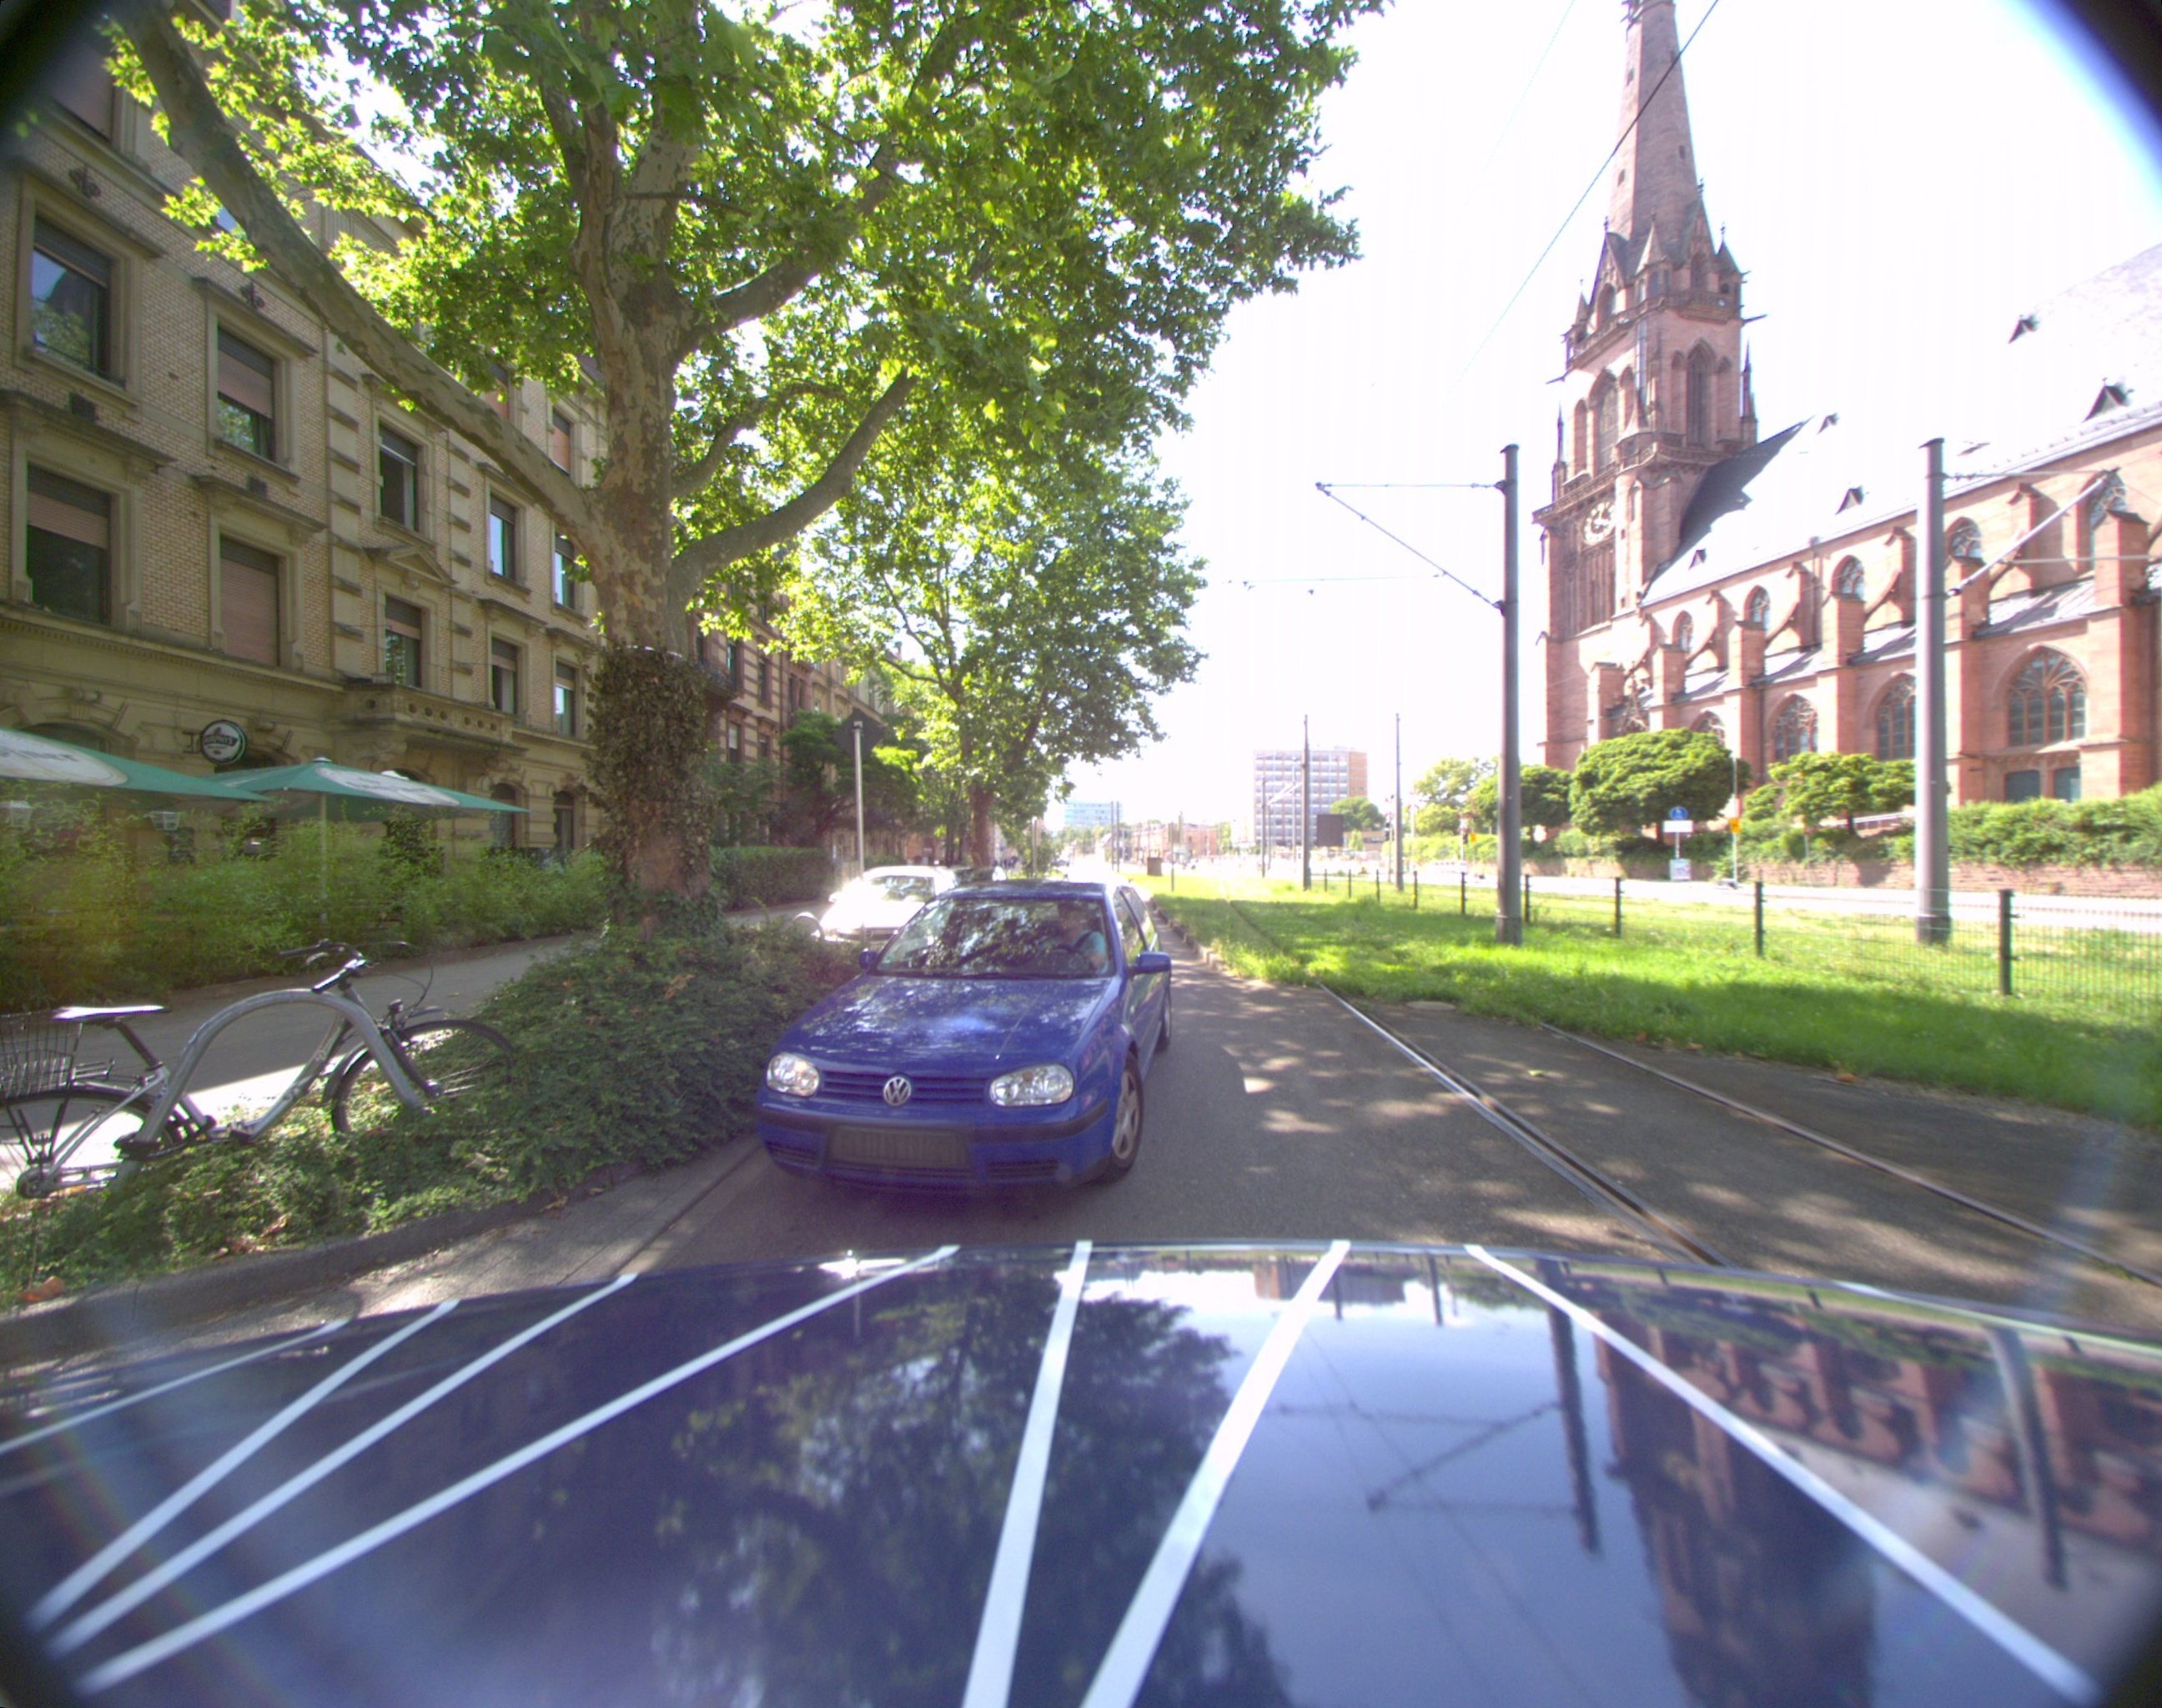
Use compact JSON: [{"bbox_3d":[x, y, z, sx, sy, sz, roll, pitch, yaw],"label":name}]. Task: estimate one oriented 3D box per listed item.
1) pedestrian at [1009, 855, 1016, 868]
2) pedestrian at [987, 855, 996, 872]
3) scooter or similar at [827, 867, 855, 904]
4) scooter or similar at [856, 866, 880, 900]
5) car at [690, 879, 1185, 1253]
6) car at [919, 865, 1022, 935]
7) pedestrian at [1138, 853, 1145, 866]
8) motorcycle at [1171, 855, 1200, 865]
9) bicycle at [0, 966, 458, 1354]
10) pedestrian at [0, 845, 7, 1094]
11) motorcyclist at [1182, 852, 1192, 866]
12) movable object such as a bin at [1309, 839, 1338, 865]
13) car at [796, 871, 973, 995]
[{"bbox_3d":[-8.825,0.980,97.443,0.797,1.708,0.967,-1,0,0],"label":"pedestrian"},{"bbox_3d":[-8.988,0.939,76.278,0.797,1.708,0.967,-1,0,0],"label":"pedestrian"},{"bbox_3d":[-8.490,1.096,26.885,0.583,1.240,1.145,0,0,1],"label":"scooter or similar"},{"bbox_3d":[-8.293,1.113,29.607,0.583,1.275,1.145,0,0,3],"label":"scooter or similar"},{"bbox_3d":[-0.420,0.946,5.316,1.884,1.401,4.097,-1,0,13],"label":"car"},{"bbox_3d":[-2.638,1.066,19.288,1.838,1.499,4.643,0,0,1],"label":"car"},{"bbox_3d":[8.058,0.743,101.484,0.850,1.644,1.128,-1,0,1],"label":"pedestrian"},{"bbox_3d":[14.507,0.871,105.473,3.929,1.331,1.247,-1,0,20],"label":"motorcycle"},{"bbox_3d":[-3.547,1.109,2.997,0.421,1.099,1.620,0,0,31],"label":"bicycle"},{"bbox_3d":[-8.058,0.816,5.004,0.738,1.775,0.852,1,0,0],"label":"pedestrian"},{"bbox_3d":[14.648,0.644,105.403,1.105,1.919,1.335,0,0,19],"label":"motorcyclist"},{"bbox_3d":[37.610,-0.305,117.900,3.341,3.859,2.932,0,0,-33],"label":"movable object such as a bin"},{"bbox_3d":[-2.874,1.079,12.122,1.838,1.499,4.490,0,0,-3],"label":"car"}]
